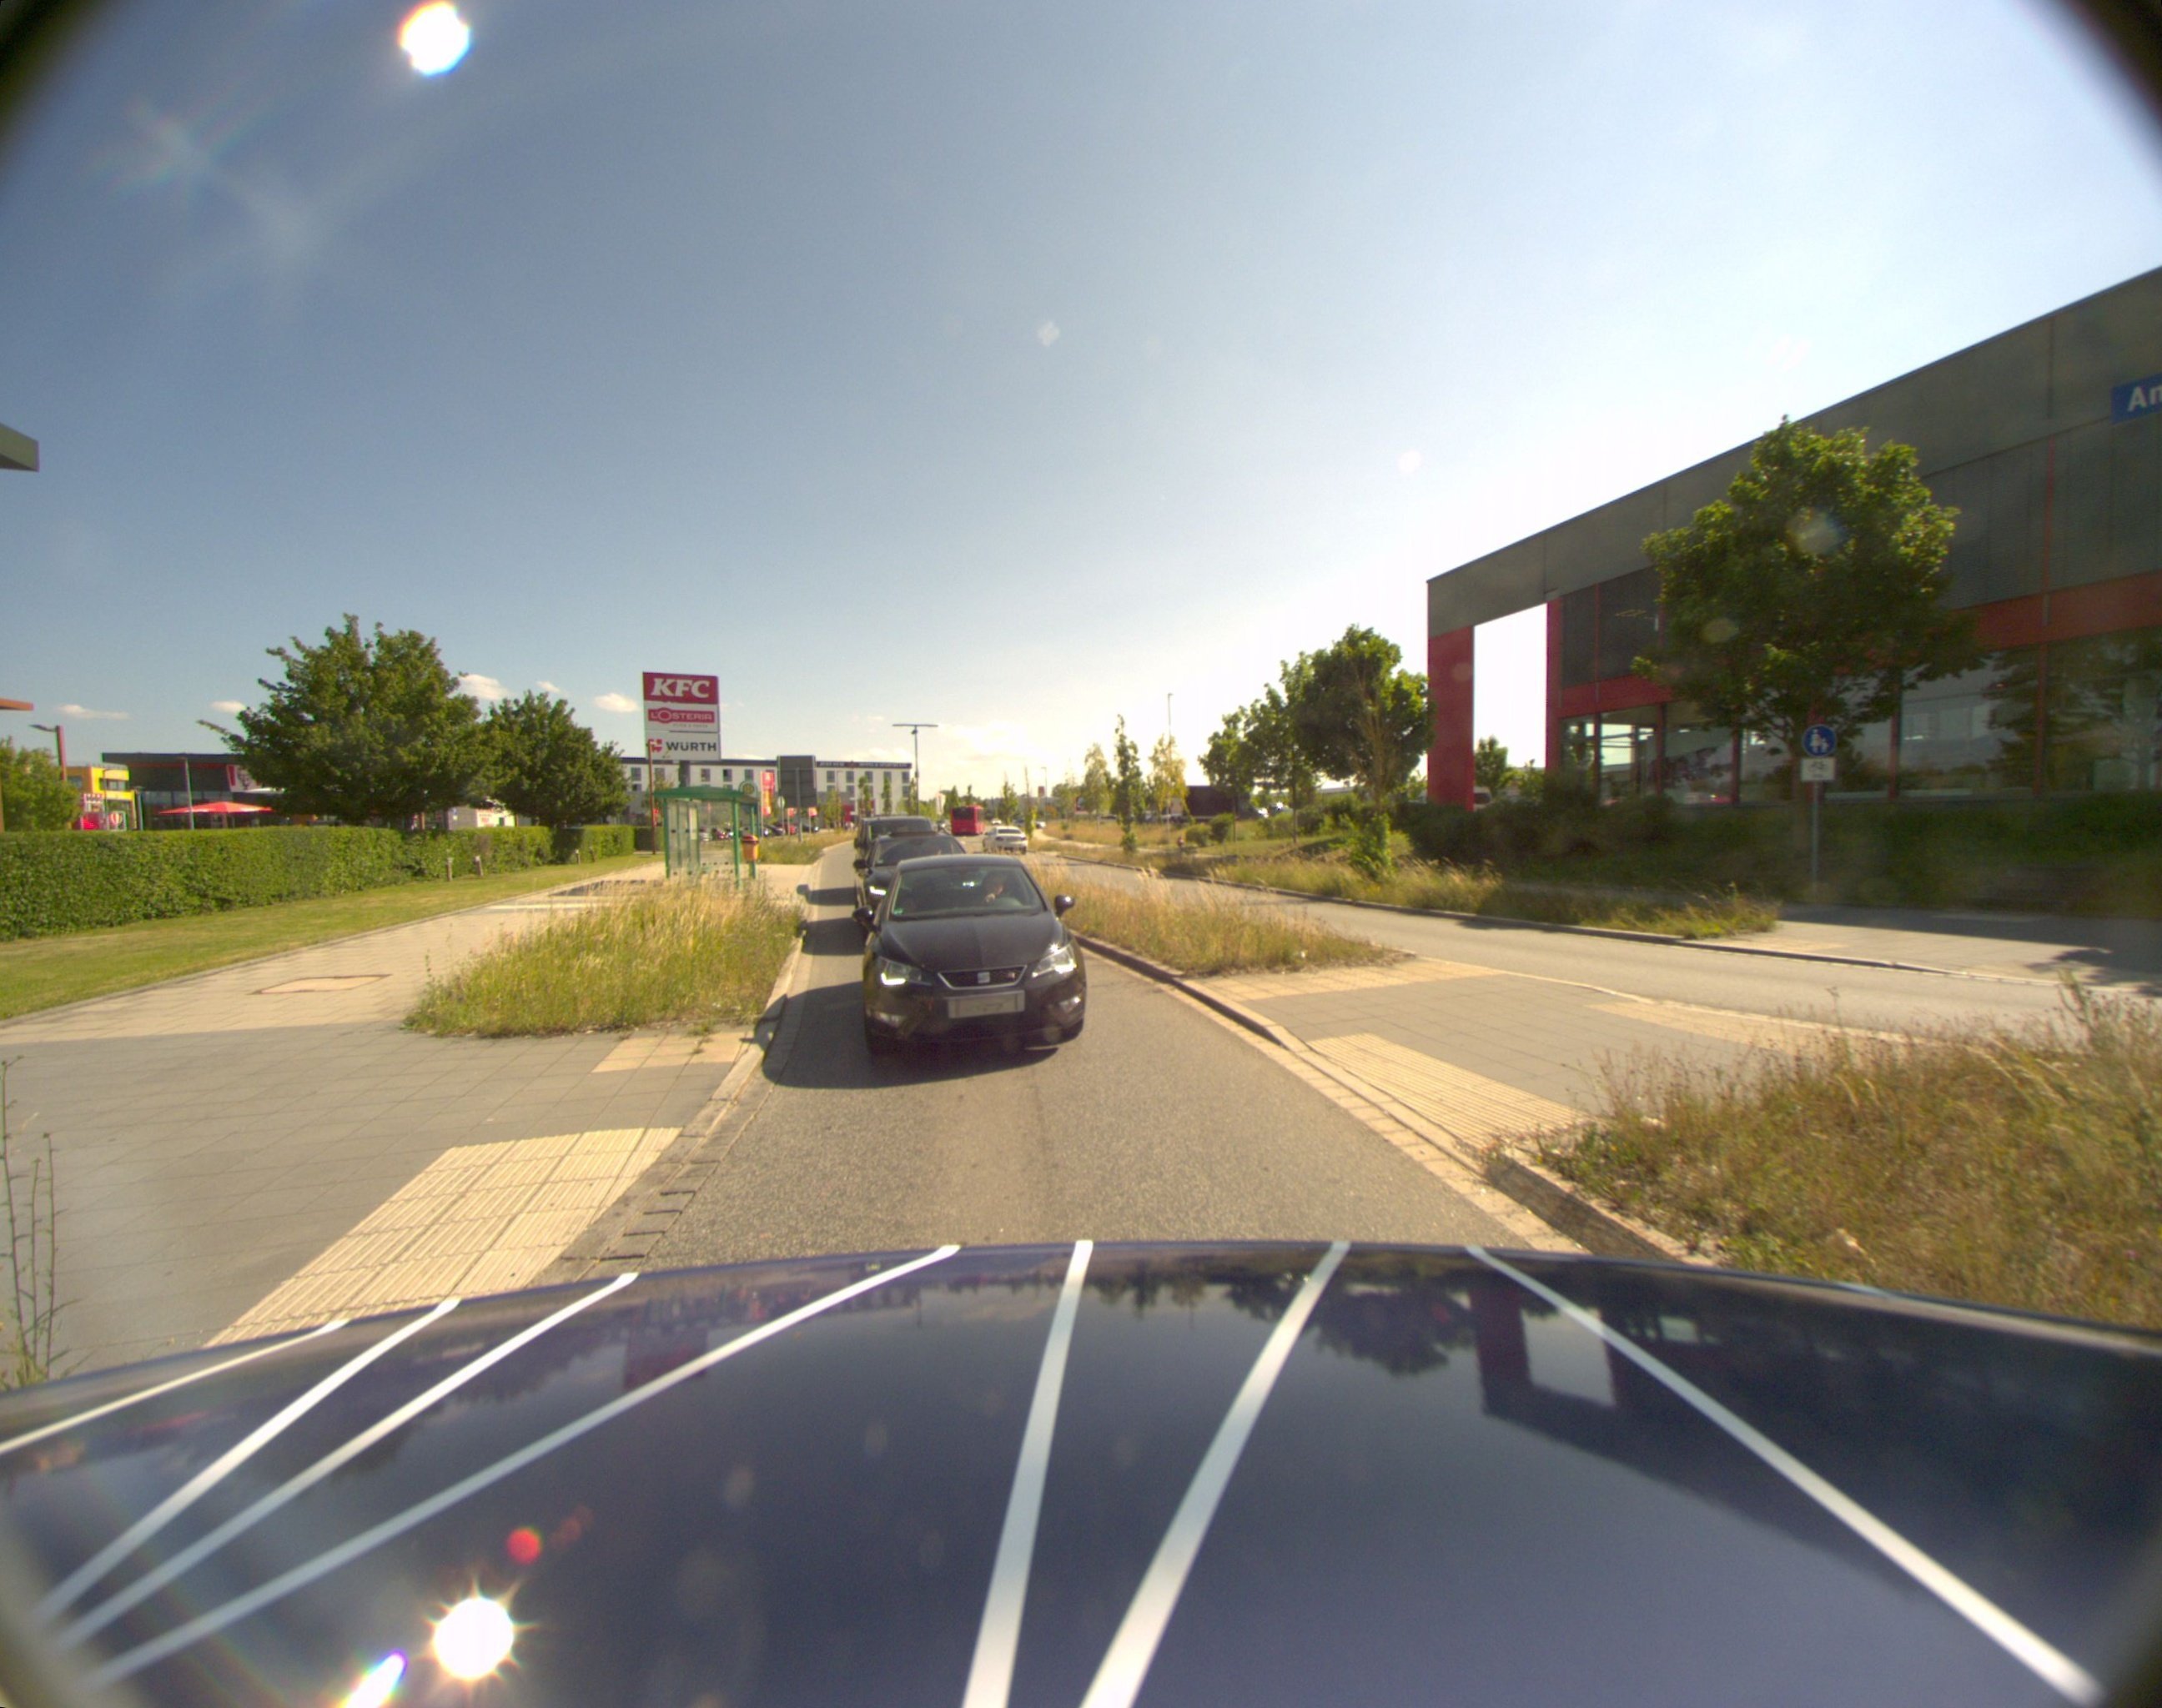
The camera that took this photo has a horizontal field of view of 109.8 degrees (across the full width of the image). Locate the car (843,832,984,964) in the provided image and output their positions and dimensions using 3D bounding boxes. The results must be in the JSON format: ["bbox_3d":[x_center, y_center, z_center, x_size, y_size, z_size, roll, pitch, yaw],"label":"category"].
[{"bbox_3d":[-2.901,0.558,12.848,1.864,1.679,3.992,-4,4,-15],"label":"car"}]

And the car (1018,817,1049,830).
[{"bbox_3d":[-6.485,-4.180,104.005,3.943,1.667,1.619,-1,3,2],"label":"car"}]

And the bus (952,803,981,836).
[{"bbox_3d":[-11.898,-3.562,79.788,2.617,3.224,11.868,-1,2,-7],"label":"bus"}]

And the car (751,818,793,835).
[{"bbox_3d":[-36.812,-3.300,90.514,4.186,2.003,1.931,-1,3,-5],"label":"car"}]

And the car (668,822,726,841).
[{"bbox_3d":[-36.042,-2.110,71.351,4.444,1.644,1.930,-1,3,-11],"label":"car"}]

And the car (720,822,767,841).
[{"bbox_3d":[-36.882,-2.508,83.020,4.185,2.003,1.932,-1,3,-3],"label":"car"}]

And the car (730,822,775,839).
[{"bbox_3d":[-36.947,-2.681,85.430,4.184,1.847,1.802,-1,3,0],"label":"car"}]

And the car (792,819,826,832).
[{"bbox_3d":[-35.973,-3.759,100.388,3.823,1.611,1.755,-1,3,-4],"label":"car"}]

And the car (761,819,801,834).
[{"bbox_3d":[-37.026,-3.390,93.752,4.184,1.752,1.823,-1,3,0],"label":"car"}]

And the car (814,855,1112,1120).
[{"bbox_3d":[-1.138,0.837,6.856,1.864,1.460,3.994,-2,2,-12],"label":"car"}]

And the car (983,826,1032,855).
[{"bbox_3d":[-3.937,-0.722,40.110,1.798,1.408,4.374,-2,2,-15],"label":"car"}]

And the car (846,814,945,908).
[{"bbox_3d":[-4.910,0.033,19.928,2.081,2.038,4.674,-4,4,-15],"label":"car"}]

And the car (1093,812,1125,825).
[{"bbox_3d":[3.865,-4.848,103.893,4.277,1.667,1.619,-1,2,5],"label":"car"}]
